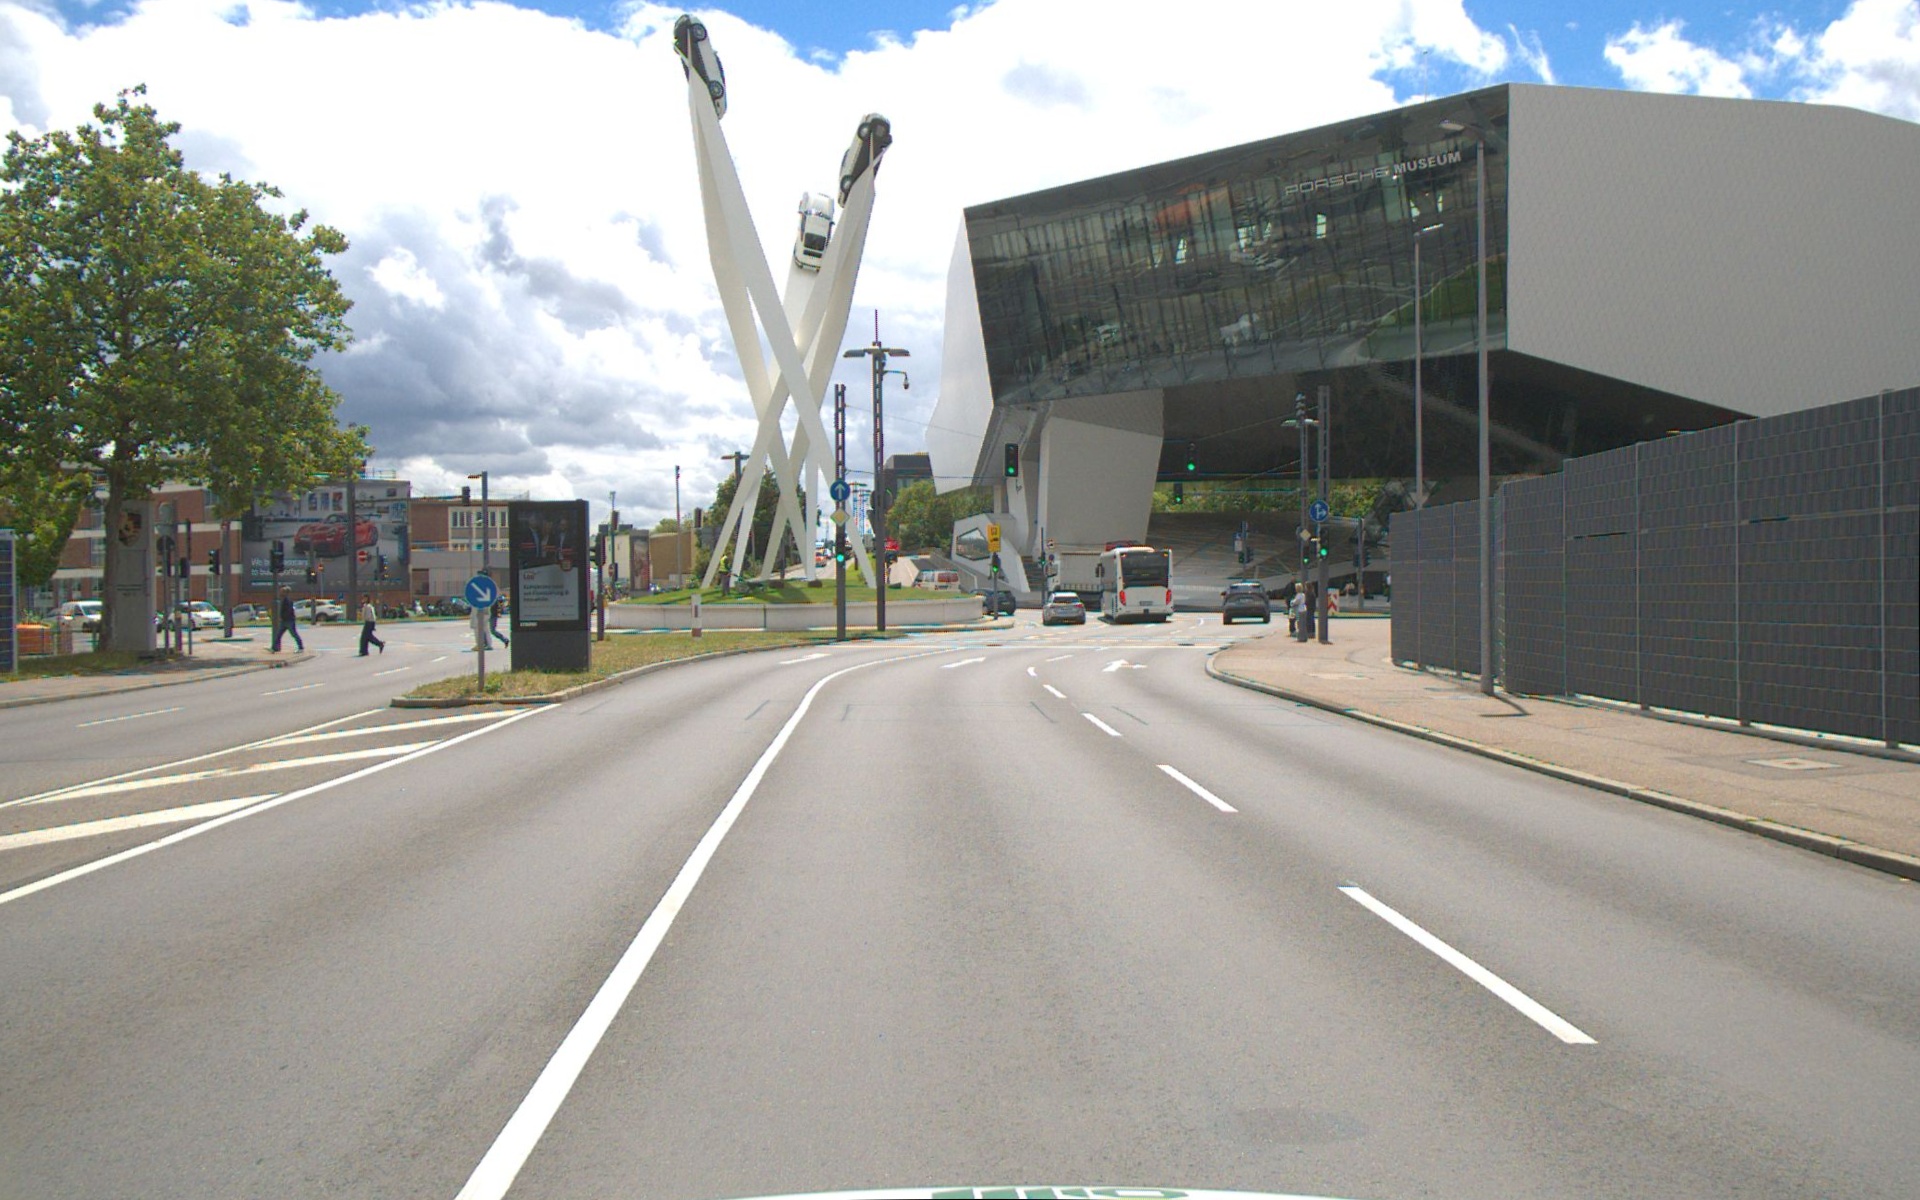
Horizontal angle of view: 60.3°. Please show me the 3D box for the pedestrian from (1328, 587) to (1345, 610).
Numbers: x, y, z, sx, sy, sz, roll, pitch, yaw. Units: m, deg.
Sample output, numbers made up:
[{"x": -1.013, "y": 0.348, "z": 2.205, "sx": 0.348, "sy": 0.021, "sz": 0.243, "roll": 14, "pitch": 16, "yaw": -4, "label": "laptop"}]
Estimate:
[{"x": 25.821, "y": -0.111, "z": 113.507, "sx": 0.903, "sy": 1.600, "sz": 0.829, "roll": 0, "pitch": -1, "yaw": 30, "label": "pedestrian"}]

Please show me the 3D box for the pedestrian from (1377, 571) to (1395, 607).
[{"x": 24.016, "y": -0.626, "z": 93.278, "sx": 0.933, "sy": 2.019, "sz": 1.383, "roll": 0, "pitch": 2, "yaw": 13, "label": "pedestrian"}]

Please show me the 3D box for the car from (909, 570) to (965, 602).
[{"x": -1.501, "y": -0.881, "z": 106.768, "sx": 1.972, "sy": 1.937, "sz": 3.962, "roll": 1, "pitch": -1, "yaw": -29, "label": "car"}]

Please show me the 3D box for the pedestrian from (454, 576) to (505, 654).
[{"x": -13.004, "y": 0.404, "z": 44.806, "sx": 0.932, "sy": 2.091, "sz": 0.951, "roll": 0, "pitch": -1, "yaw": 16, "label": "pedestrian"}]

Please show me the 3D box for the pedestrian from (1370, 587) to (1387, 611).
[{"x": 28.777, "y": -0.052, "z": 113.620, "sx": 0.813, "sy": 1.600, "sz": 0.921, "roll": 1, "pitch": -1, "yaw": -12, "label": "pedestrian"}]

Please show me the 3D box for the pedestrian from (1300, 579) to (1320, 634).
[{"x": 10.489, "y": 0.190, "z": 49.521, "sx": 0.454, "sy": 1.644, "sz": 0.663, "roll": 1, "pitch": -1, "yaw": 0, "label": "pedestrian"}]

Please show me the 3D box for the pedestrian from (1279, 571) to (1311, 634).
[{"x": 10.131, "y": 0.078, "z": 50.047, "sx": 0.649, "sy": 1.899, "sz": 0.790, "roll": 1, "pitch": -1, "yaw": -17, "label": "pedestrian"}]

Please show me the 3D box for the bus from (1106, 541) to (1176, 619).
[{"x": 8.678, "y": -0.822, "z": 78.741, "sx": 3.006, "sy": 3.421, "sz": 12.231, "roll": 0, "pitch": 0, "yaw": 7, "label": "bus"}]

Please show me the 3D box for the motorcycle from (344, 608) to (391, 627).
[{"x": -38.965, "y": 1.156, "z": 108.768, "sx": 2.841, "sy": 1.217, "sz": 0.921, "roll": 0, "pitch": -1, "yaw": 16, "label": "motorcycle"}]

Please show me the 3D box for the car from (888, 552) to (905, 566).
[{"x": -7.846, "y": -5.095, "z": 203.969, "sx": 1.953, "sy": 1.664, "sz": 4.655, "roll": 1, "pitch": 2, "yaw": -1, "label": "car"}]

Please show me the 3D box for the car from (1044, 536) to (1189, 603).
[{"x": 8.756, "y": -1.633, "z": 94.039, "sx": 3.303, "sy": 3.565, "sz": 9.238, "roll": 1, "pitch": -1, "yaw": -32, "label": "car"}]

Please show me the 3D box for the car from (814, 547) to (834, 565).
[{"x": -16.079, "y": -5.248, "z": 195.922, "sx": 1.953, "sy": 2.018, "sz": 4.837, "roll": -1, "pitch": 2, "yaw": 0, "label": "car"}]

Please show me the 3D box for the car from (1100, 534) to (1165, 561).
[{"x": 12.651, "y": -3.856, "z": 121.232, "sx": 4.439, "sy": 1.418, "sz": 1.987, "roll": 10, "pitch": 11, "yaw": 43, "label": "car"}]

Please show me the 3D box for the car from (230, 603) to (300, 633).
[{"x": -38.080, "y": 0.958, "z": 90.596, "sx": 3.927, "sy": 1.604, "sz": 1.989, "roll": 0, "pitch": -1, "yaw": 41, "label": "car"}]

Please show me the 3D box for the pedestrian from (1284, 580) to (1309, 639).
[{"x": 9.483, "y": 0.265, "z": 46.660, "sx": 0.645, "sy": 1.636, "sz": 0.823, "roll": 0, "pitch": -1, "yaw": 8, "label": "pedestrian"}]

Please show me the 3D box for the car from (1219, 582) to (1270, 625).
[{"x": 11.515, "y": 0.107, "z": 66.898, "sx": 1.951, "sy": 1.665, "sz": 4.004, "roll": 0, "pitch": 1, "yaw": 10, "label": "car"}]

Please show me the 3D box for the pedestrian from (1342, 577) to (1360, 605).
[{"x": 21.472, "y": -0.471, "z": 90.870, "sx": 0.576, "sy": 1.522, "sz": 0.762, "roll": 1, "pitch": -1, "yaw": -35, "label": "pedestrian"}]

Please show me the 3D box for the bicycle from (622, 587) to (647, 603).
[{"x": -24.449, "y": -0.360, "z": 124.273, "sx": 1.703, "sy": 1.202, "sz": 0.669, "roll": 1, "pitch": 1, "yaw": -4, "label": "bicycle"}]

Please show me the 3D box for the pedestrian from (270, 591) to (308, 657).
[{"x": -18.424, "y": 0.655, "z": 45.435, "sx": 0.849, "sy": 1.805, "sz": 1.031, "roll": 1, "pitch": -1, "yaw": -16, "label": "pedestrian"}]

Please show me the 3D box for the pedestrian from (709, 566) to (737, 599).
[{"x": -11.132, "y": -0.824, "z": 77.603, "sx": 0.835, "sy": 1.431, "sz": 0.965, "roll": -7, "pitch": -3, "yaw": 19, "label": "pedestrian"}]

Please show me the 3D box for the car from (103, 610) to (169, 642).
[{"x": -42.353, "y": 1.310, "z": 84.961, "sx": 3.890, "sy": 1.583, "sz": 1.791, "roll": 0, "pitch": -1, "yaw": 43, "label": "car"}]

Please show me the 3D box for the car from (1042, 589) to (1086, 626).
[{"x": 4.843, "y": 0.360, "z": 76.807, "sx": 1.952, "sy": 1.665, "sz": 4.002, "roll": 1, "pitch": 0, "yaw": 4, "label": "car"}]

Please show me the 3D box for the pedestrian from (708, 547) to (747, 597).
[{"x": -9.191, "y": -1.110, "z": 65.331, "sx": 1.263, "sy": 1.847, "sz": 0.981, "roll": -5, "pitch": 4, "yaw": -19, "label": "pedestrian"}]

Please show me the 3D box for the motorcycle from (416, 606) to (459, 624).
[{"x": -36.480, "y": 1.029, "z": 115.454, "sx": 2.841, "sy": 1.217, "sz": 0.921, "roll": 0, "pitch": -1, "yaw": 16, "label": "motorcycle"}]

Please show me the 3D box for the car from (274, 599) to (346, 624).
[{"x": -41.688, "y": 0.754, "z": 106.061, "sx": 3.903, "sy": 1.527, "sz": 2.001, "roll": 0, "pitch": -1, "yaw": 18, "label": "car"}]

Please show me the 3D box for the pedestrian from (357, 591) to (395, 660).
[{"x": -15.379, "y": 0.672, "z": 43.589, "sx": 0.849, "sy": 1.805, "sz": 1.031, "roll": 1, "pitch": -1, "yaw": -16, "label": "pedestrian"}]

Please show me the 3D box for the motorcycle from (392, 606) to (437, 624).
[{"x": -37.248, "y": 1.029, "z": 112.917, "sx": 2.841, "sy": 1.217, "sz": 0.921, "roll": 0, "pitch": -1, "yaw": 16, "label": "motorcycle"}]

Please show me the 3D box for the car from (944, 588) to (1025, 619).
[{"x": 1.321, "y": 0.183, "z": 89.271, "sx": 3.909, "sy": 1.665, "sz": 1.998, "roll": 0, "pitch": -1, "yaw": 26, "label": "car"}]

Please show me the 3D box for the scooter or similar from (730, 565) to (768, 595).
[{"x": -8.385, "y": -0.811, "z": 65.738, "sx": 1.381, "sy": 1.043, "sz": 0.546, "roll": -5, "pitch": 6, "yaw": -22, "label": "scooter or similar"}]

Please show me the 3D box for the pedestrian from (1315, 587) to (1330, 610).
[{"x": 24.985, "y": -0.116, "z": 113.982, "sx": 0.811, "sy": 1.600, "sz": 0.923, "roll": 0, "pitch": -1, "yaw": 25, "label": "pedestrian"}]

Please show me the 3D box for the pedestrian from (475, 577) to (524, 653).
[{"x": -12.741, "y": 0.413, "z": 45.761, "sx": 0.932, "sy": 2.091, "sz": 0.951, "roll": 0, "pitch": -1, "yaw": 16, "label": "pedestrian"}]

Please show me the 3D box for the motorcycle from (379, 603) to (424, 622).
[{"x": -37.771, "y": 0.836, "z": 111.832, "sx": 2.841, "sy": 1.217, "sz": 0.921, "roll": 0, "pitch": -1, "yaw": 16, "label": "motorcycle"}]

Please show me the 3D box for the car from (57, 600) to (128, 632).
[{"x": -46.458, "y": 0.855, "z": 88.526, "sx": 4.213, "sy": 1.652, "sz": 1.989, "roll": 0, "pitch": -1, "yaw": 41, "label": "car"}]

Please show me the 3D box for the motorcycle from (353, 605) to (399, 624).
[{"x": -38.857, "y": 0.983, "z": 110.033, "sx": 2.841, "sy": 1.217, "sz": 0.921, "roll": 0, "pitch": -1, "yaw": 16, "label": "motorcycle"}]

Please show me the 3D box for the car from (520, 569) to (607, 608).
[{"x": -23.237, "y": -0.664, "z": 97.099, "sx": 4.543, "sy": 2.209, "sz": 2.001, "roll": 1, "pitch": -1, "yaw": 3, "label": "car"}]

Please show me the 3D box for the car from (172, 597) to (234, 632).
[{"x": -40.619, "y": 0.757, "z": 88.724, "sx": 1.898, "sy": 1.828, "sz": 3.713, "roll": 1, "pitch": -1, "yaw": -45, "label": "car"}]

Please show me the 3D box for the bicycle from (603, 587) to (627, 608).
[{"x": -24.334, "y": -0.174, "z": 116.717, "sx": 1.574, "sy": 1.407, "sz": 0.492, "roll": 1, "pitch": -1, "yaw": -4, "label": "bicycle"}]
